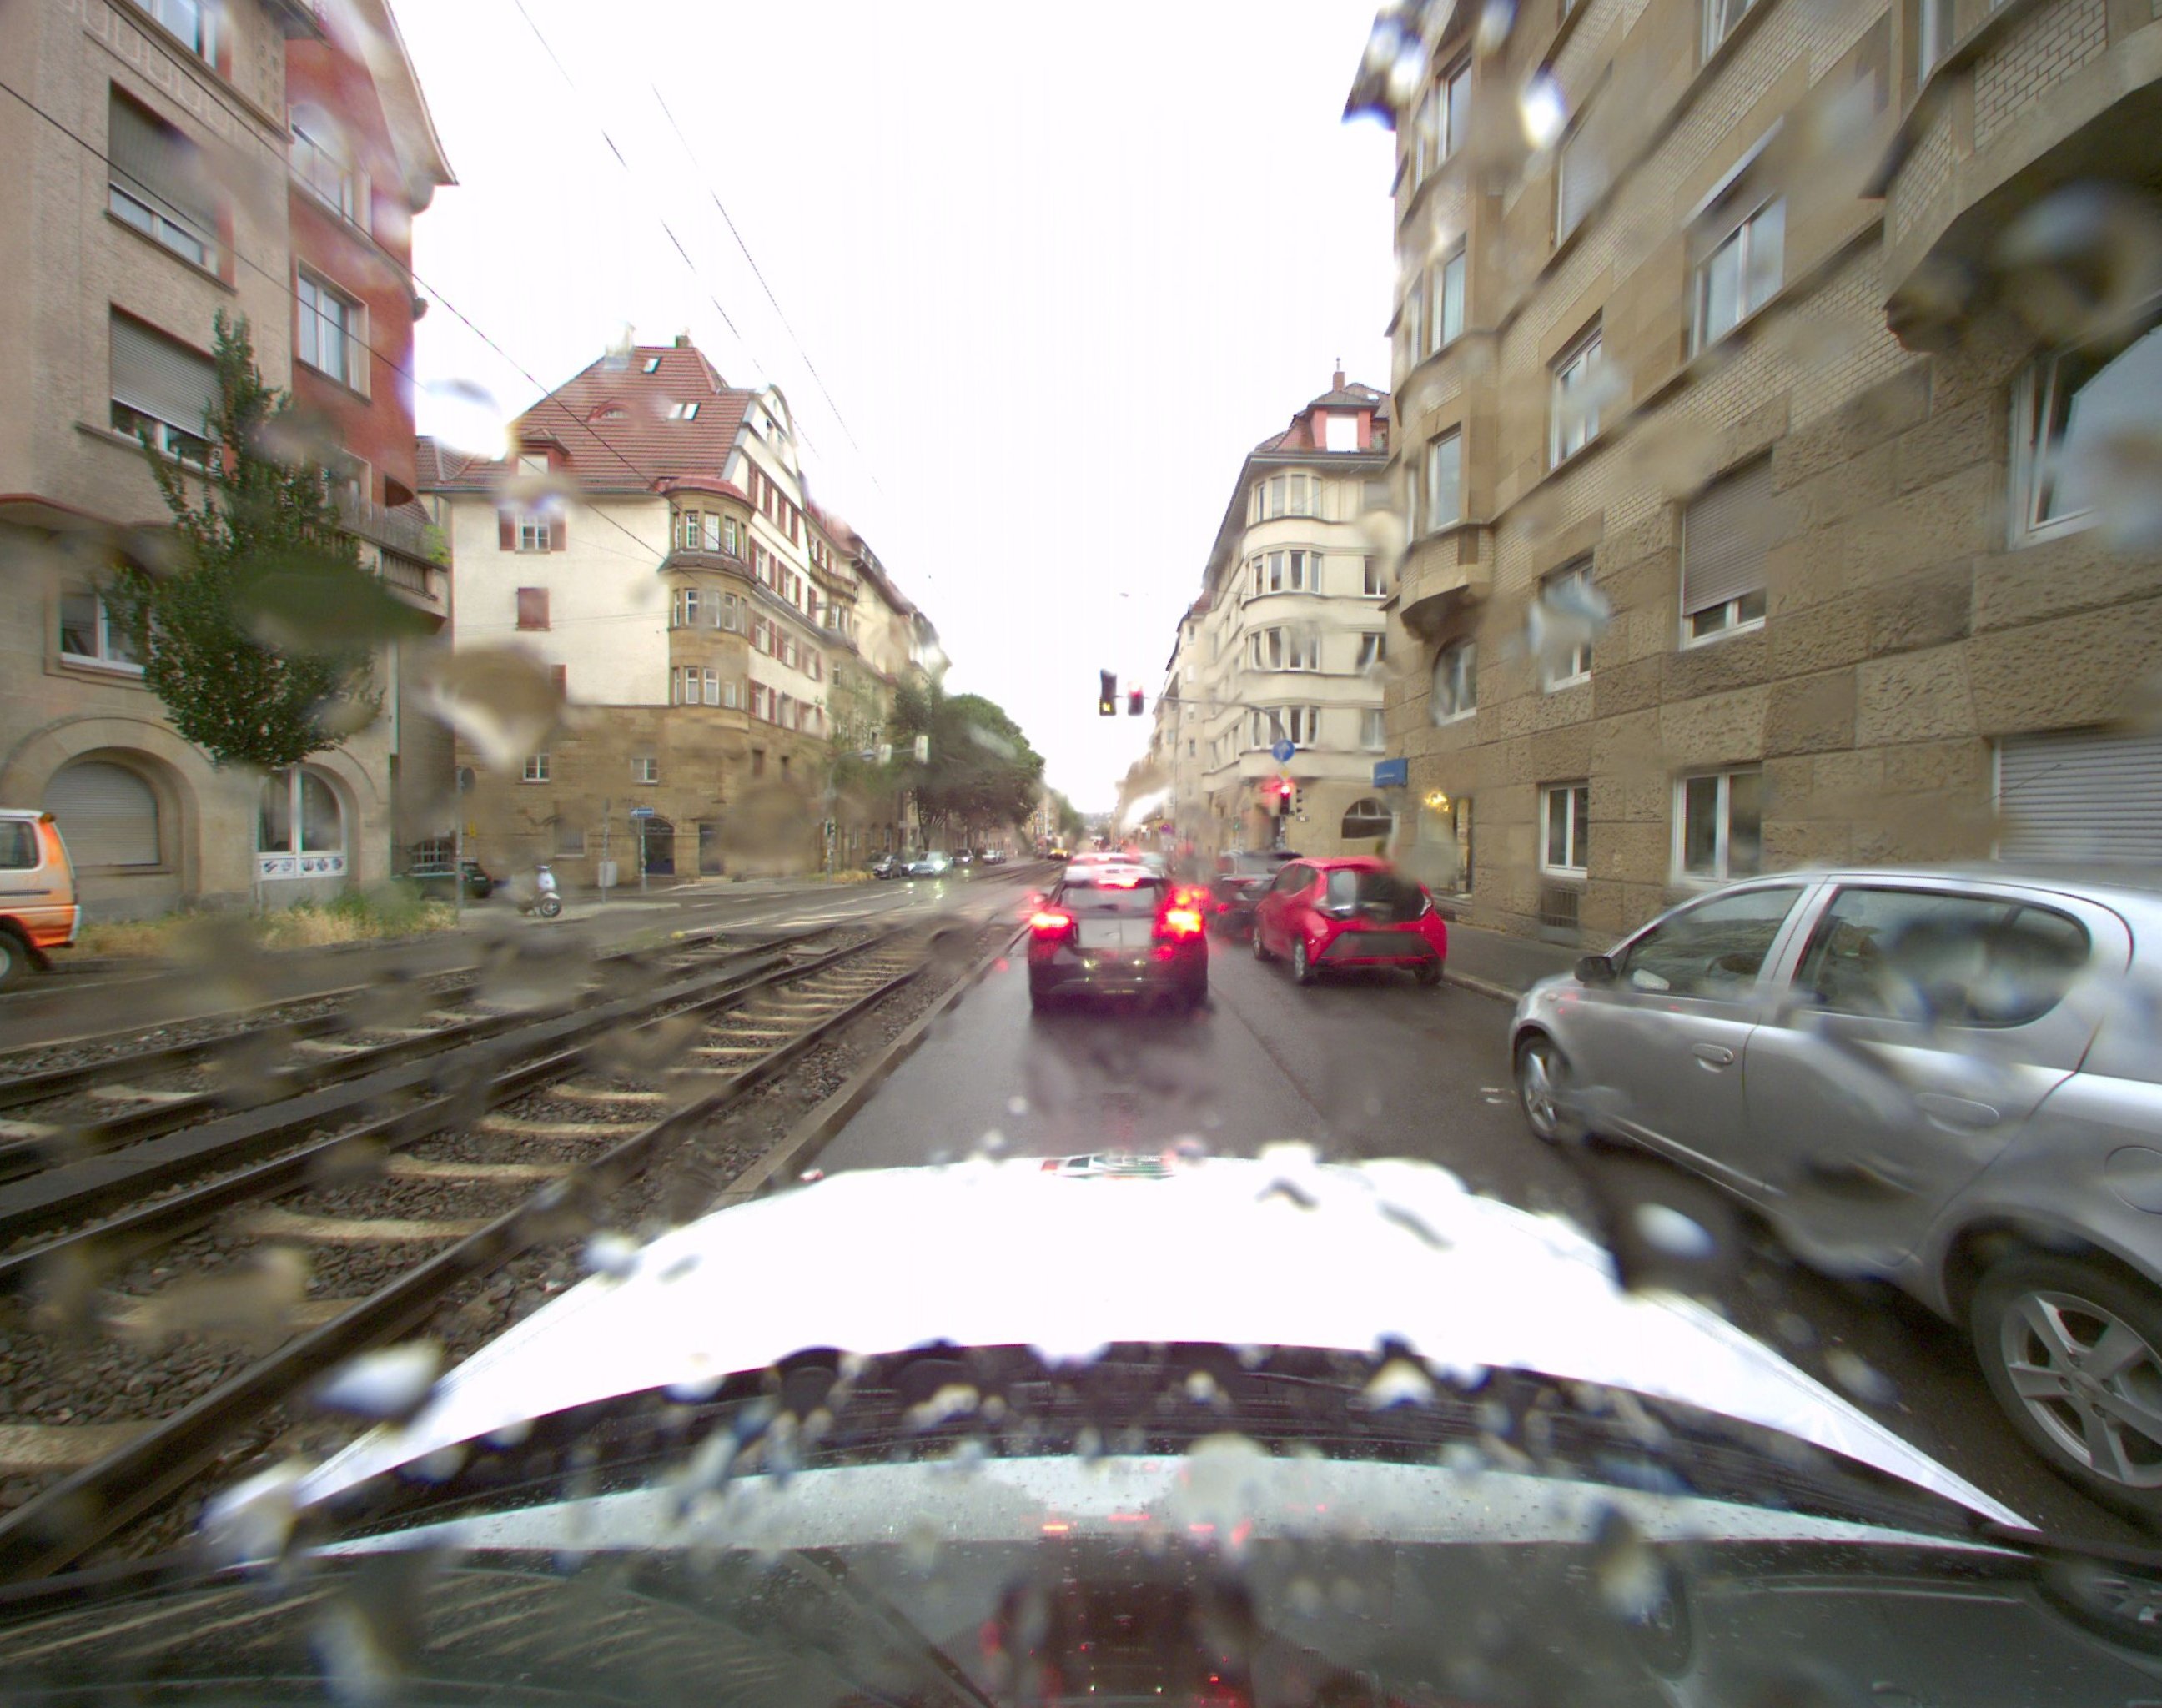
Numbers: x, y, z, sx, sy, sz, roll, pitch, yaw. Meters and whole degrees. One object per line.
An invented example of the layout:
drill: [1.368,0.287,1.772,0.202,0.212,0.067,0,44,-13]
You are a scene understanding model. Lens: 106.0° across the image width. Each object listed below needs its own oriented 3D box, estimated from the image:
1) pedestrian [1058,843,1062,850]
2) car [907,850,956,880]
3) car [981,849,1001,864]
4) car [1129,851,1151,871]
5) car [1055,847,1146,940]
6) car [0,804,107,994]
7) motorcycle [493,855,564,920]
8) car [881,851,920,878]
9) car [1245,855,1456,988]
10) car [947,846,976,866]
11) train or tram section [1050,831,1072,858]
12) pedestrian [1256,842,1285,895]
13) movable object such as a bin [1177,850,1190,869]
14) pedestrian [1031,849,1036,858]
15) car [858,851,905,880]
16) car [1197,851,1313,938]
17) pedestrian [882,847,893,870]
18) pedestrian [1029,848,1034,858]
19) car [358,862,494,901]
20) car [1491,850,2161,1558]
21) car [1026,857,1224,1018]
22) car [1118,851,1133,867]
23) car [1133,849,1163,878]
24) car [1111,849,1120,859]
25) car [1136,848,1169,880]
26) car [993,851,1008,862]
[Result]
pedestrian: [-5.768,-2.085,225.130,1.049,1.957,1.043,1,0,3]
car: [-8.262,0.582,45.438,1.891,1.588,3.974,0,-1,2]
car: [-9.855,0.315,89.604,1.583,1.581,3.920,0,-1,2]
car: [4.424,0.536,61.589,1.539,1.486,3.549,0,0,2]
car: [0.398,0.699,15.965,1.559,1.609,3.815,0,-1,2]
car: [-12.118,0.463,7.217,1.725,1.975,4.341,0,-1,0]
motorcycle: [-12.061,0.707,17.773,1.577,1.365,0.628,-1,-1,28]
car: [-11.278,0.647,51.159,1.713,1.611,3.914,0,-1,-3]
car: [3.282,0.734,10.571,1.637,1.448,3.298,0,0,-1]
car: [-10.586,0.219,72.147,1.868,1.737,3.920,0,-1,2]
train or tram section: [-2.924,-1.310,123.162,2.772,3.861,10.433,0,-1,2]
pedestrian: [6.374,0.492,27.408,0.739,1.748,1.111,0,-1,2]
movable object such as a bin: [7.483,0.431,59.561,0.873,1.389,0.984,0,-1,5]
pedestrian: [-10.323,-0.186,176.355,1.049,1.957,1.043,1,0,3]
car: [-11.247,0.641,46.124,1.747,1.552,4.033,0,-1,-2]
car: [3.248,0.689,15.815,1.539,1.486,3.831,0,0,2]
pedestrian: [-14.023,0.320,59.033,0.630,1.672,0.701,0,-1,-4]
pedestrian: [-10.646,-0.197,174.906,1.049,1.957,1.043,1,0,3]
car: [-24.378,1.005,30.417,3.633,1.404,1.699,0,-1,-3]
car: [3.150,0.740,3.106,1.608,1.467,3.314,-2,0,3]
car: [0.471,0.780,9.570,1.822,1.458,4.105,0,0,2]
car: [4.036,0.413,73.679,1.289,1.442,2.930,0,0,2]
car: [3.850,0.531,47.181,1.539,1.590,3.549,0,0,2]
car: [6.126,-0.025,143.424,1.538,1.636,3.688,0,0,3]
car: [3.709,0.487,42.707,1.539,1.590,3.549,0,0,2]
car: [-9.785,0.303,99.020,1.443,1.331,3.271,0,-1,0]
